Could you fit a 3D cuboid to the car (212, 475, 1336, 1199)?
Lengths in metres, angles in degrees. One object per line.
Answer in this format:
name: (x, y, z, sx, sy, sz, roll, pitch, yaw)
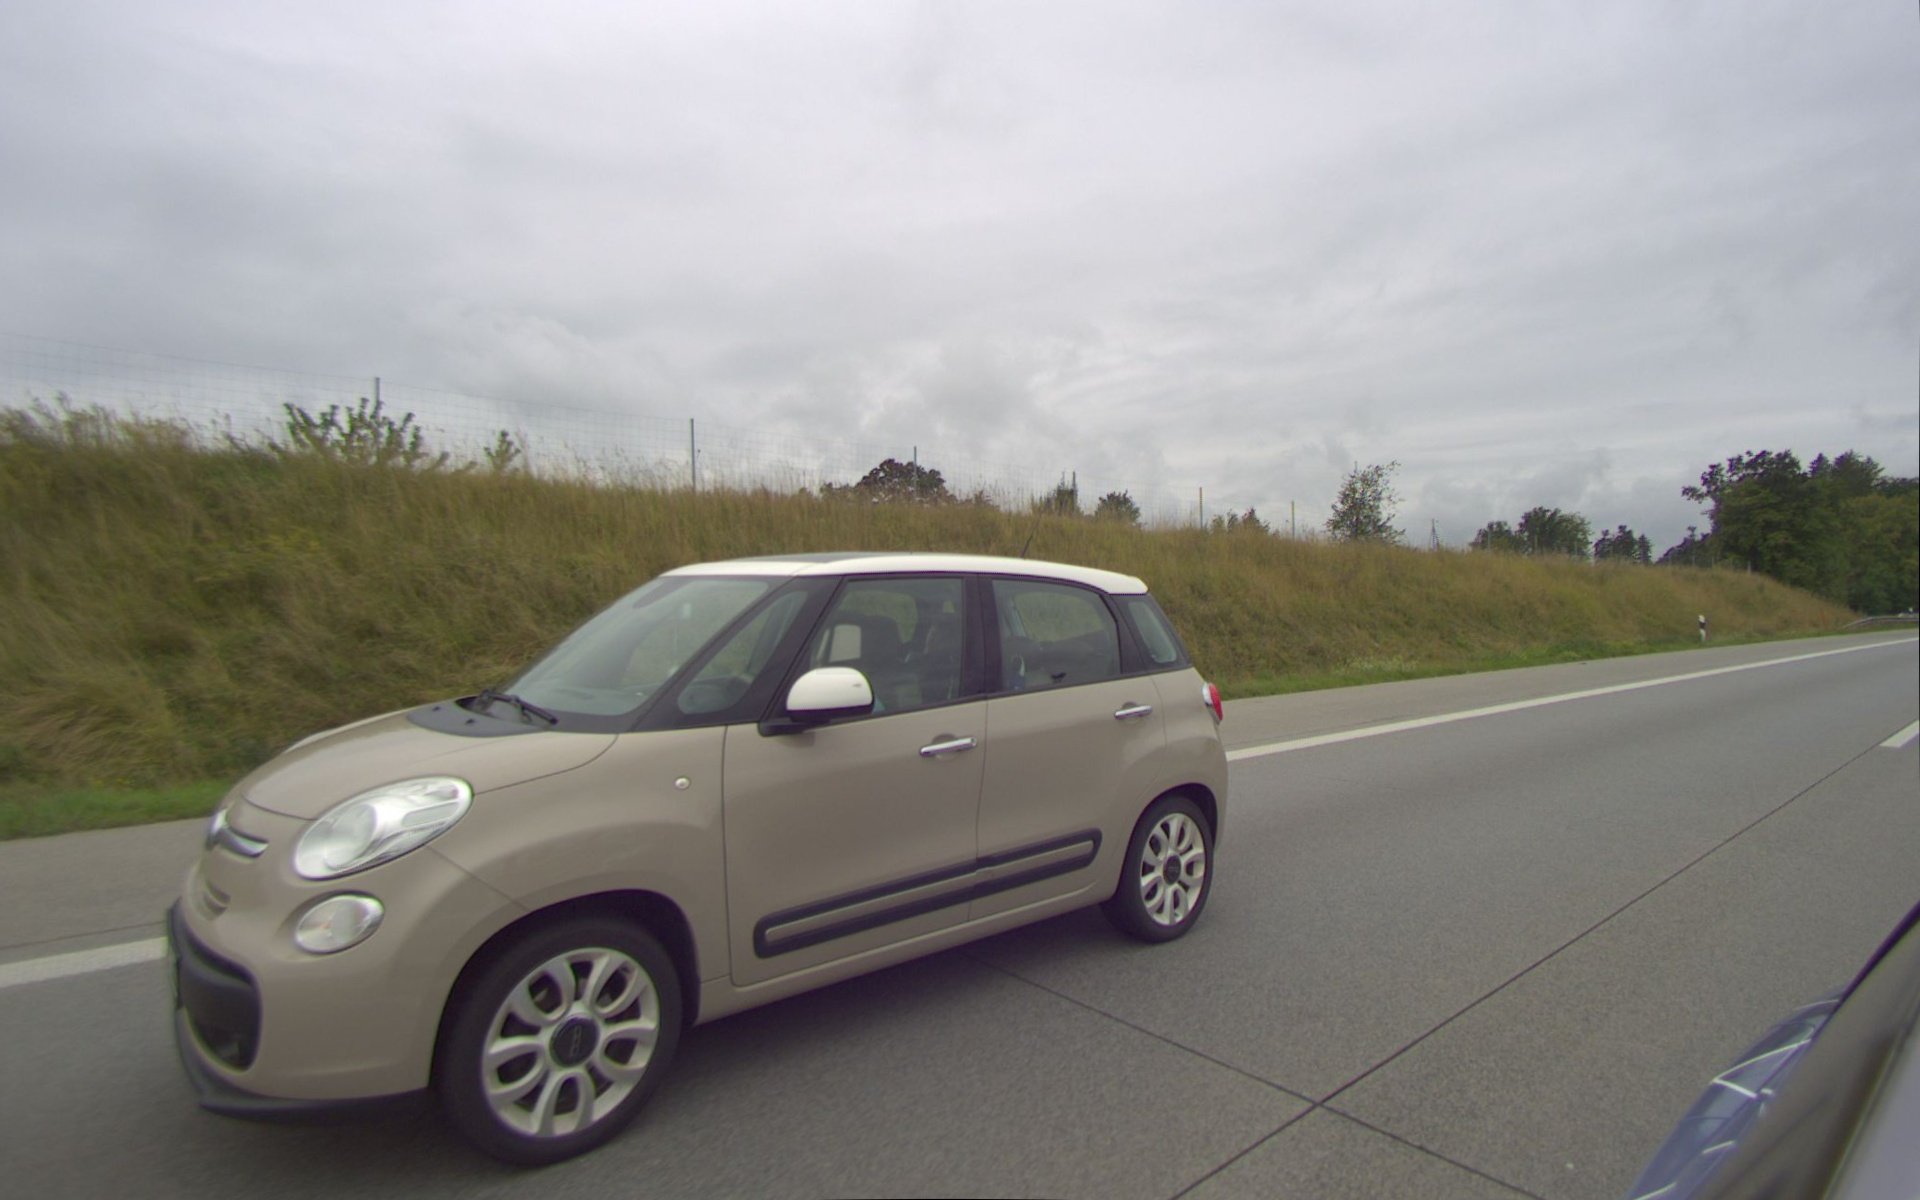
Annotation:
car: (-0.344, 0.540, 4.349, 4.491, 1.625, 1.788, 0, 0, -41)
